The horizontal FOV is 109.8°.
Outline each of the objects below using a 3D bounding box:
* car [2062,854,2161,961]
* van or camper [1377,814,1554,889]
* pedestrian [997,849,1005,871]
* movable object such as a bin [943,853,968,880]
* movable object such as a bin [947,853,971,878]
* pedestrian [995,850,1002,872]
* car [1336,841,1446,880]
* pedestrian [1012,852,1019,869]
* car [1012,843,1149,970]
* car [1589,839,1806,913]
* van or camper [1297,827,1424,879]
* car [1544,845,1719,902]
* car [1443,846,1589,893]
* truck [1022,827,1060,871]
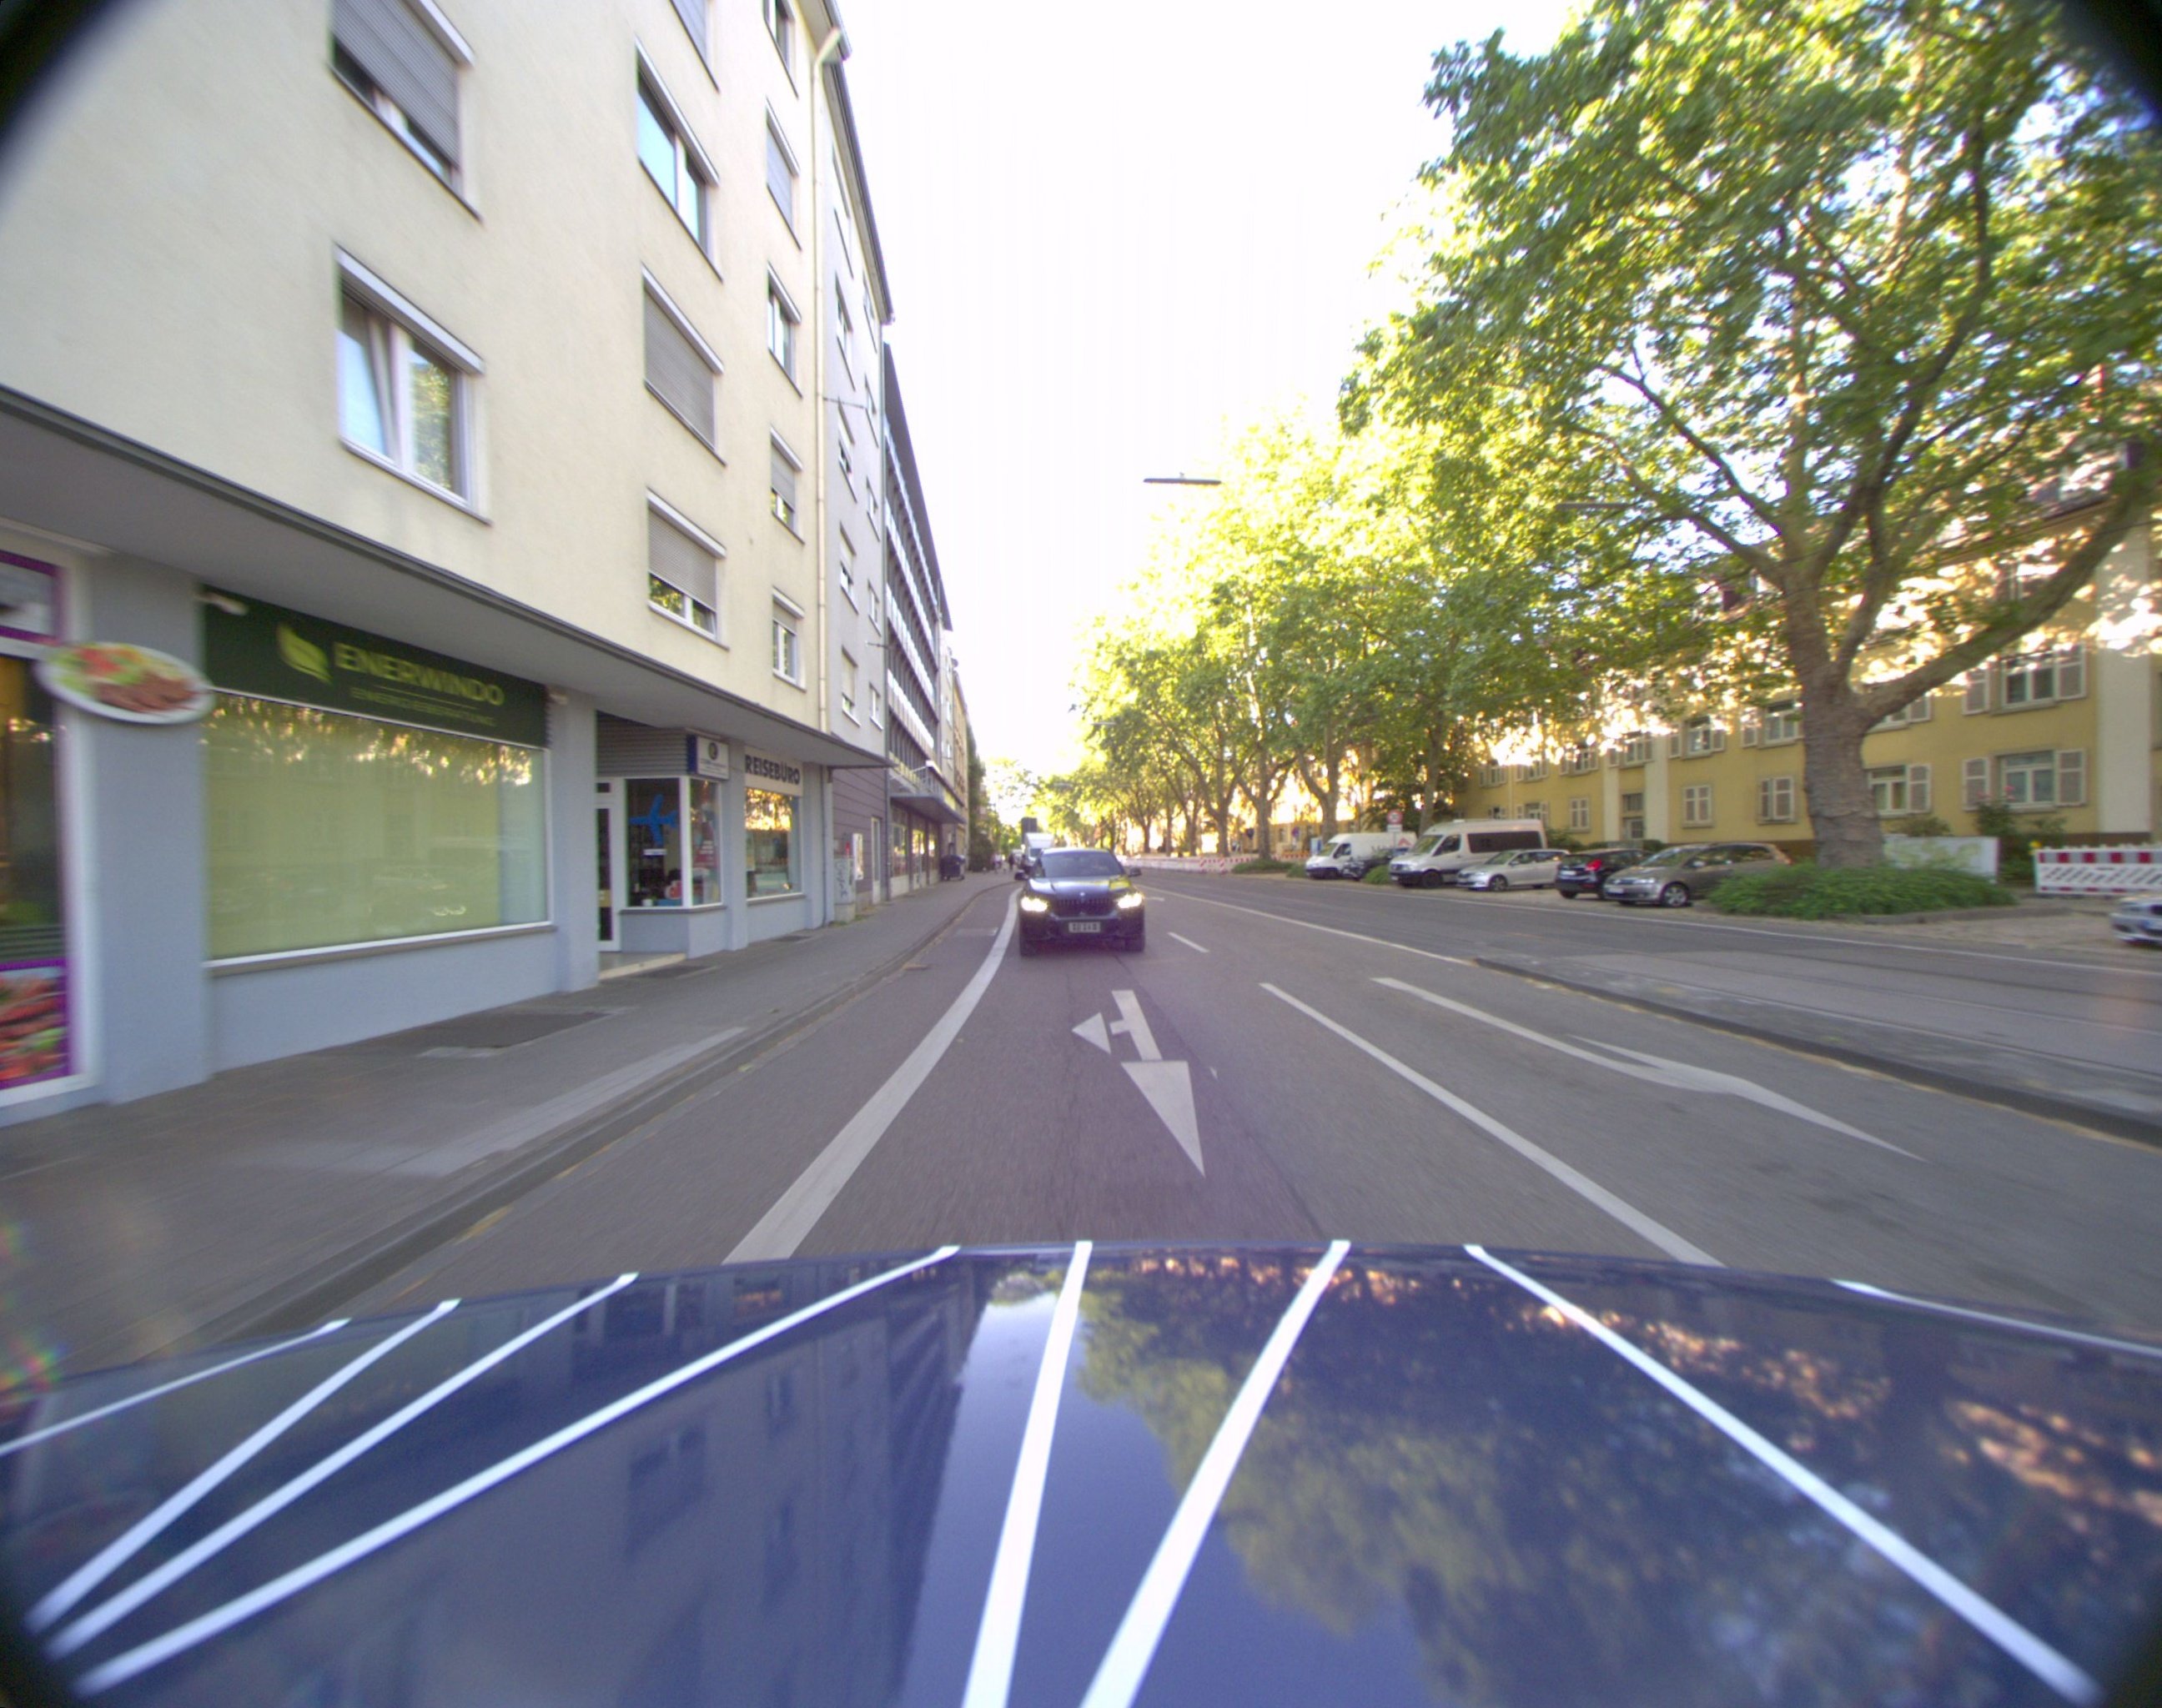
[{"bbox_3d":[16.435,0.676,10.288,4.081,1.361,1.843,-2,2,-2],"label":"car"},{"bbox_3d":[15.048,-0.119,29.927,5.933,2.633,2.155,-2,2,-3],"label":"van or camper"},{"bbox_3d":[-6.091,0.486,57.791,0.541,1.662,0.630,-1,1,-3],"label":"pedestrian"},{"bbox_3d":[-6.893,0.671,41.863,1.204,1.402,1.371,-1,1,-3],"label":"movable object such as a bin"},{"bbox_3d":[-7.031,0.631,43.857,1.204,1.402,1.371,-1,1,-3],"label":"movable object such as a bin"},{"bbox_3d":[-6.520,0.514,60.017,0.541,1.712,0.630,-1,1,-3],"label":"pedestrian"},{"bbox_3d":[14.685,0.291,36.112,4.541,1.624,1.693,-2,2,-2],"label":"car"},{"bbox_3d":[-5.703,0.576,65.862,0.541,1.437,0.630,-1,1,-3],"label":"pedestrian"},{"bbox_3d":[-0.092,0.728,13.423,1.931,1.742,4.681,-2,1,-2],"label":"car"},{"bbox_3d":[15.504,0.512,19.252,4.081,1.610,1.843,-2,2,-2],"label":"car"},{"bbox_3d":[14.381,-0.087,39.307,5.764,2.371,2.155,-2,2,-3],"label":"van or camper"},{"bbox_3d":[15.847,0.526,21.982,3.862,1.438,1.693,-2,2,-2],"label":"car"},{"bbox_3d":[15.520,0.524,27.234,4.277,1.438,1.693,-2,2,-2],"label":"car"},{"bbox_3d":[-3.057,-0.389,56.988,2.345,3.096,5.208,-2,1,-7],"label":"truck"}]
